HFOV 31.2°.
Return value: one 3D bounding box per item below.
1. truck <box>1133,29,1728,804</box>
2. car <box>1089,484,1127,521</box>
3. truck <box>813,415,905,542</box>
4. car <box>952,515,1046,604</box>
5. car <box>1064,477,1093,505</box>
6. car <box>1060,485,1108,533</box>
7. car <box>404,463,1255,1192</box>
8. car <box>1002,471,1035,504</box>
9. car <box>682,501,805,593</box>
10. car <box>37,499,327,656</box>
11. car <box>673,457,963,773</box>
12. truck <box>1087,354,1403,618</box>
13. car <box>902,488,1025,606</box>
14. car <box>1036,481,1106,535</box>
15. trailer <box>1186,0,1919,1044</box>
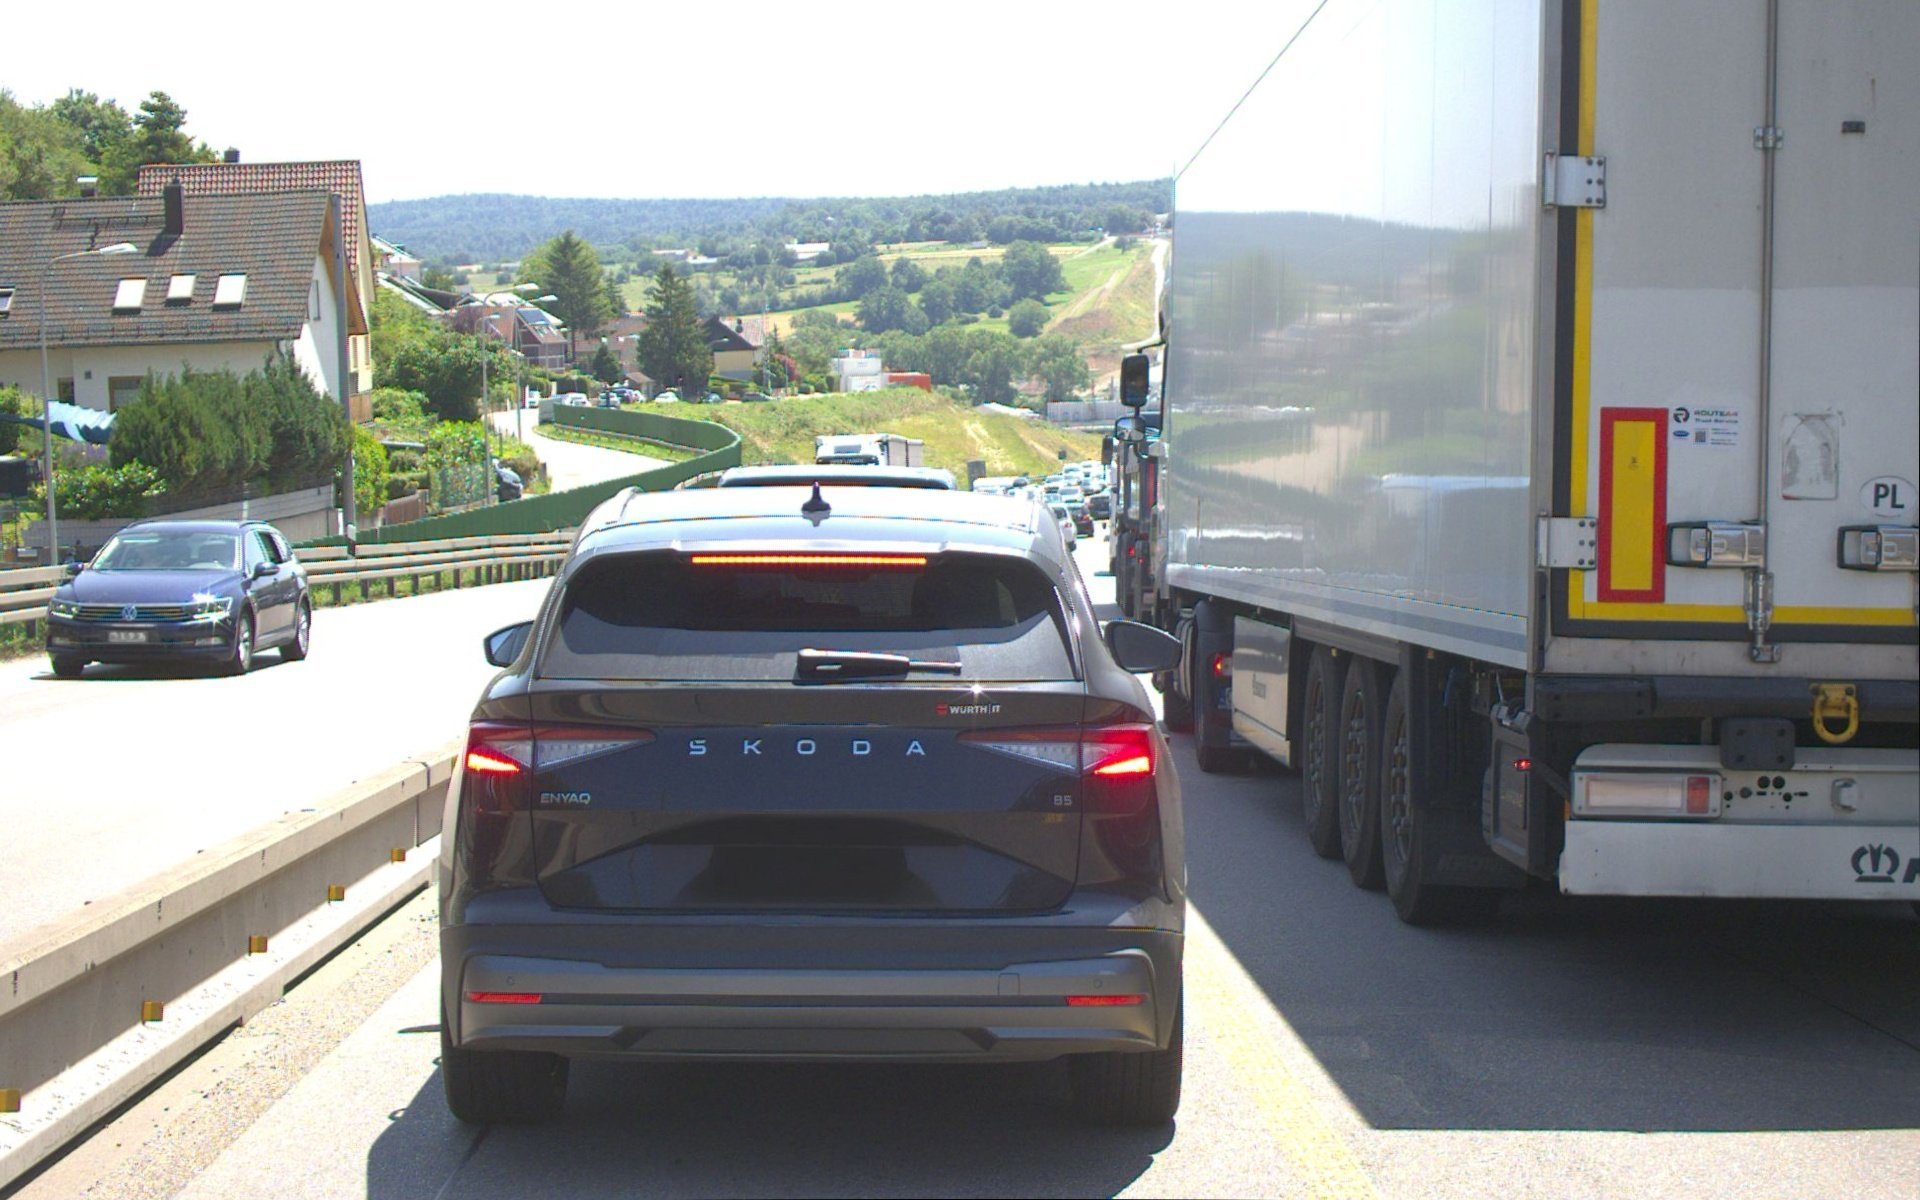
[{"bbox_3d":[2.674,-1.003,22.133,2.513,4.011,8.238,1,1,-1],"label":"truck"},{"bbox_3d":[7.291,-4.799,169.058,1.701,1.722,3.836,1,1,4],"label":"car"},{"bbox_3d":[-3.477,-4.225,119.586,2.752,4.268,4.957,1,2,3],"label":"truck"},{"bbox_3d":[0.733,-0.819,67.416,1.707,1.616,4.001,1,2,-1],"label":"car"},{"bbox_3d":[7.739,-7.097,224.118,1.701,1.722,3.836,1,1,4],"label":"car"},{"bbox_3d":[4.763,-3.480,132.043,1.701,1.722,3.836,1,1,4],"label":"car"},{"bbox_3d":[-0.430,0.484,9.501,1.842,1.581,3.908,1,1,-4],"label":"car"},{"bbox_3d":[3.258,-6.274,192.293,1.701,1.722,3.836,1,1,0],"label":"car"},{"bbox_3d":[-3.455,-0.875,55.472,1.718,1.403,4.000,-1,2,0],"label":"car"},{"bbox_3d":[-7.570,-0.230,33.888,1.841,1.413,4.687,-1,1,-1],"label":"car"},{"bbox_3d":[-1.006,0.018,22.670,1.706,1.875,4.001,1,2,-4],"label":"car"},{"bbox_3d":[3.714,-1.461,48.332,3.195,3.180,12.809,1,1,-1],"label":"truck"},{"bbox_3d":[0.013,-0.815,50.467,1.707,1.616,4.001,1,2,-1],"label":"car"},{"bbox_3d":[3.402,-2.814,105.942,1.993,1.579,3.836,1,1,0],"label":"car"},{"bbox_3d":[2.762,-0.869,15.427,2.531,4.113,11.548,1,1,-1],"label":"trailer"}]
